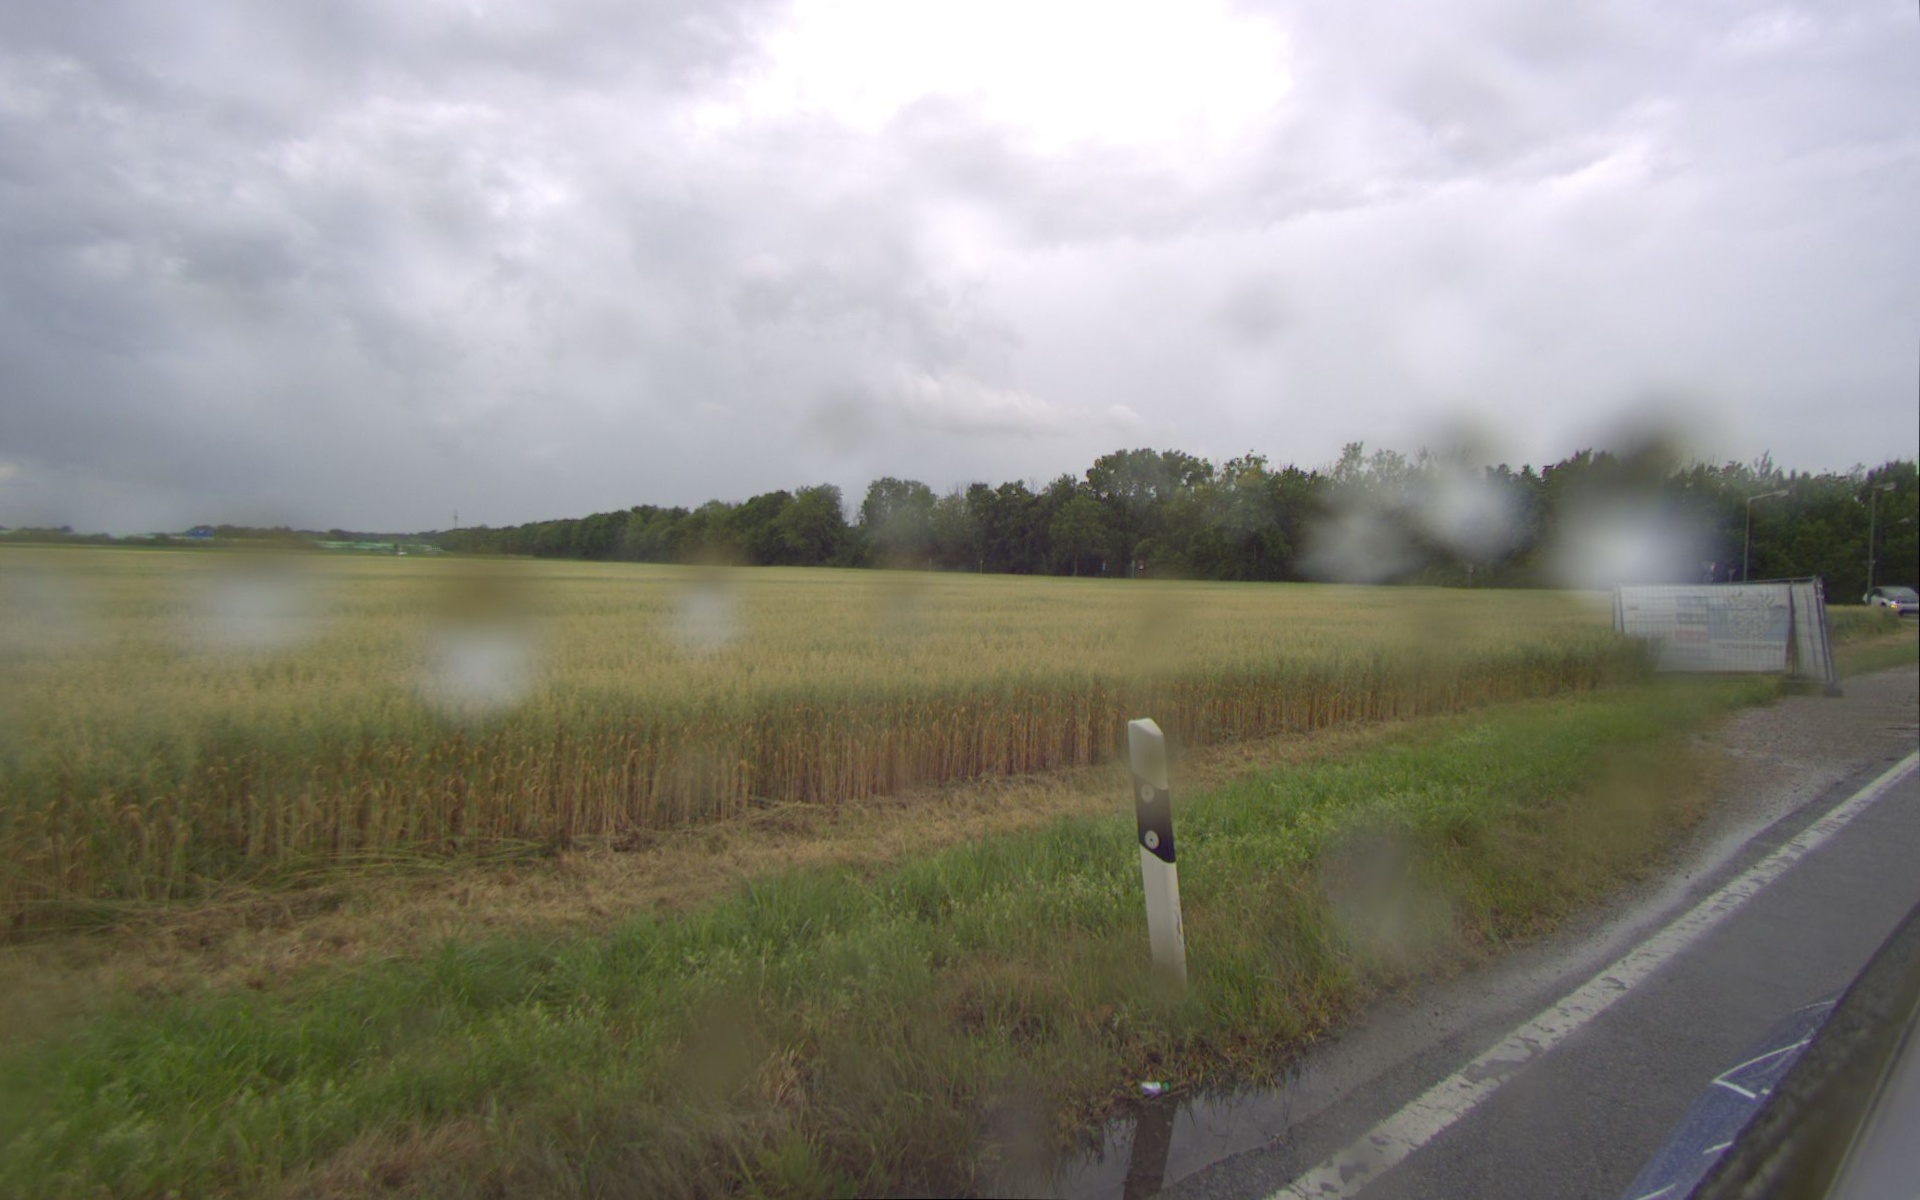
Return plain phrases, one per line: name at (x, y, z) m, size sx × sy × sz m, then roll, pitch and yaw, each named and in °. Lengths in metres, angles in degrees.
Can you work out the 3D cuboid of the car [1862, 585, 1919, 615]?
car at (51.120, -0.034, 54.869) m, size 1.871 × 1.550 × 4.469 m, roll 1°, pitch 1°, yaw 22°
